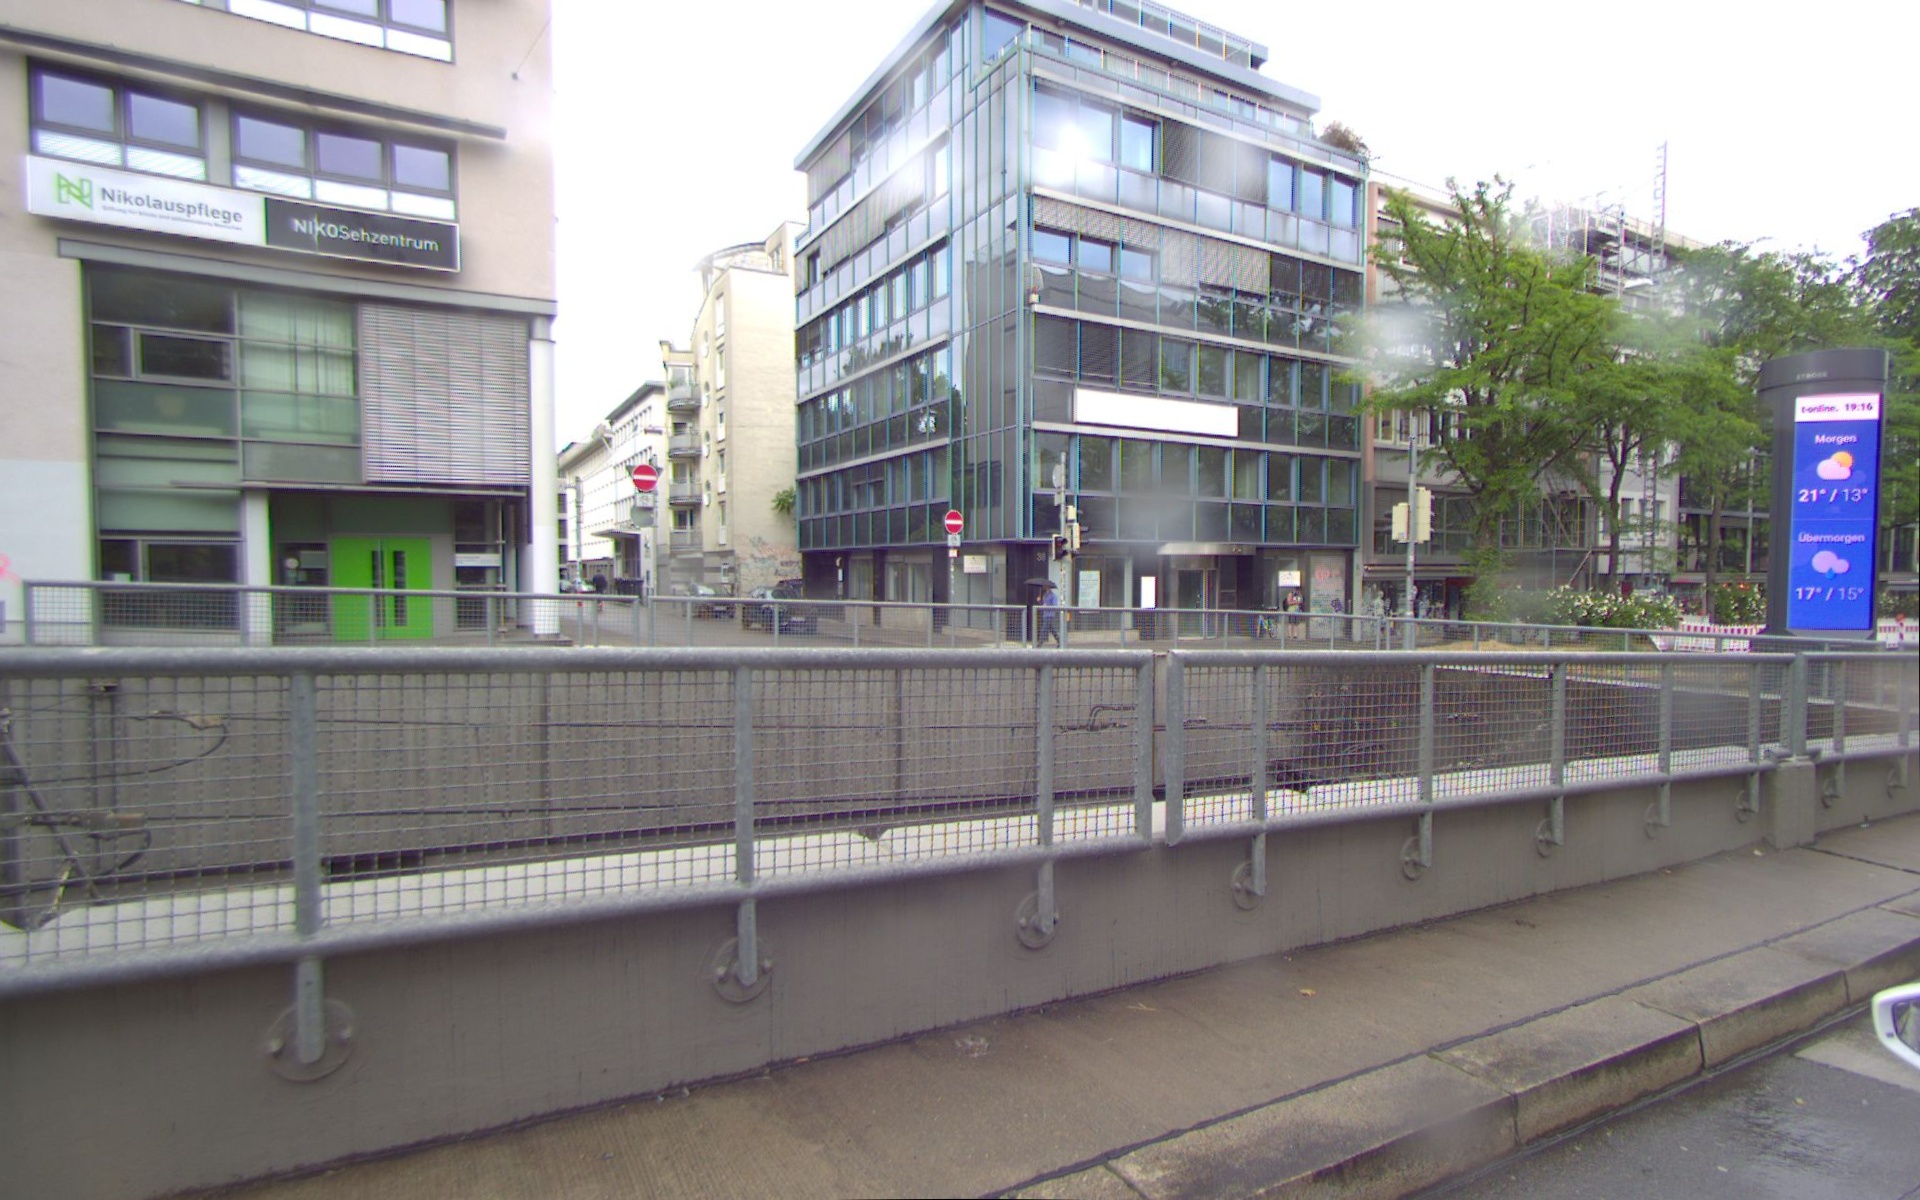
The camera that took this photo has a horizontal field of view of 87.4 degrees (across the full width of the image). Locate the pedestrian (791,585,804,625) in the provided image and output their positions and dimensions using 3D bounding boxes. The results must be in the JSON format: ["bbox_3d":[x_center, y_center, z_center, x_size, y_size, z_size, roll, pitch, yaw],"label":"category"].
[{"bbox_3d":[-6.945,0.208,42.902,0.443,1.664,0.326,1,2,-35],"label":"pedestrian"}]

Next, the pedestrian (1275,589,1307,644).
[{"bbox_3d":[10.945,0.551,33.228,0.688,1.765,0.691,1,2,-35],"label":"pedestrian"}]

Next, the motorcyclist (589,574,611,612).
[{"bbox_3d":[-17.979,-0.345,50.091,0.850,1.832,1.007,1,1,-29],"label":"motorcyclist"}]

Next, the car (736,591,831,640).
[{"bbox_3d":[-6.244,0.507,35.169,1.977,1.578,3.966,1,0,-31],"label":"car"}]

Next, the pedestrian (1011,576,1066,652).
[{"bbox_3d":[1.974,0.336,25.374,1.047,1.863,0.853,1,2,-30],"label":"pedestrian"}]

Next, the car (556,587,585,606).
[{"bbox_3d":[-33.769,-0.338,87.071,1.777,1.578,3.967,1,0,-30],"label":"car"}]

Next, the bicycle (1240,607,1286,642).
[{"bbox_3d":[9.865,0.804,32.720,1.544,1.100,0.444,1,1,-27],"label":"bicycle"}]

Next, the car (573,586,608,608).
[{"bbox_3d":[-27.966,-0.245,76.014,1.777,1.578,3.967,1,0,-30],"label":"car"}]

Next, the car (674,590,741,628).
[{"bbox_3d":[-11.109,0.369,44.107,1.777,1.578,3.966,1,0,-31],"label":"car"}]

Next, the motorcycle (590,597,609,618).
[{"bbox_3d":[-17.998,0.353,50.129,0.696,0.984,0.977,1,2,-29],"label":"motorcycle"}]
